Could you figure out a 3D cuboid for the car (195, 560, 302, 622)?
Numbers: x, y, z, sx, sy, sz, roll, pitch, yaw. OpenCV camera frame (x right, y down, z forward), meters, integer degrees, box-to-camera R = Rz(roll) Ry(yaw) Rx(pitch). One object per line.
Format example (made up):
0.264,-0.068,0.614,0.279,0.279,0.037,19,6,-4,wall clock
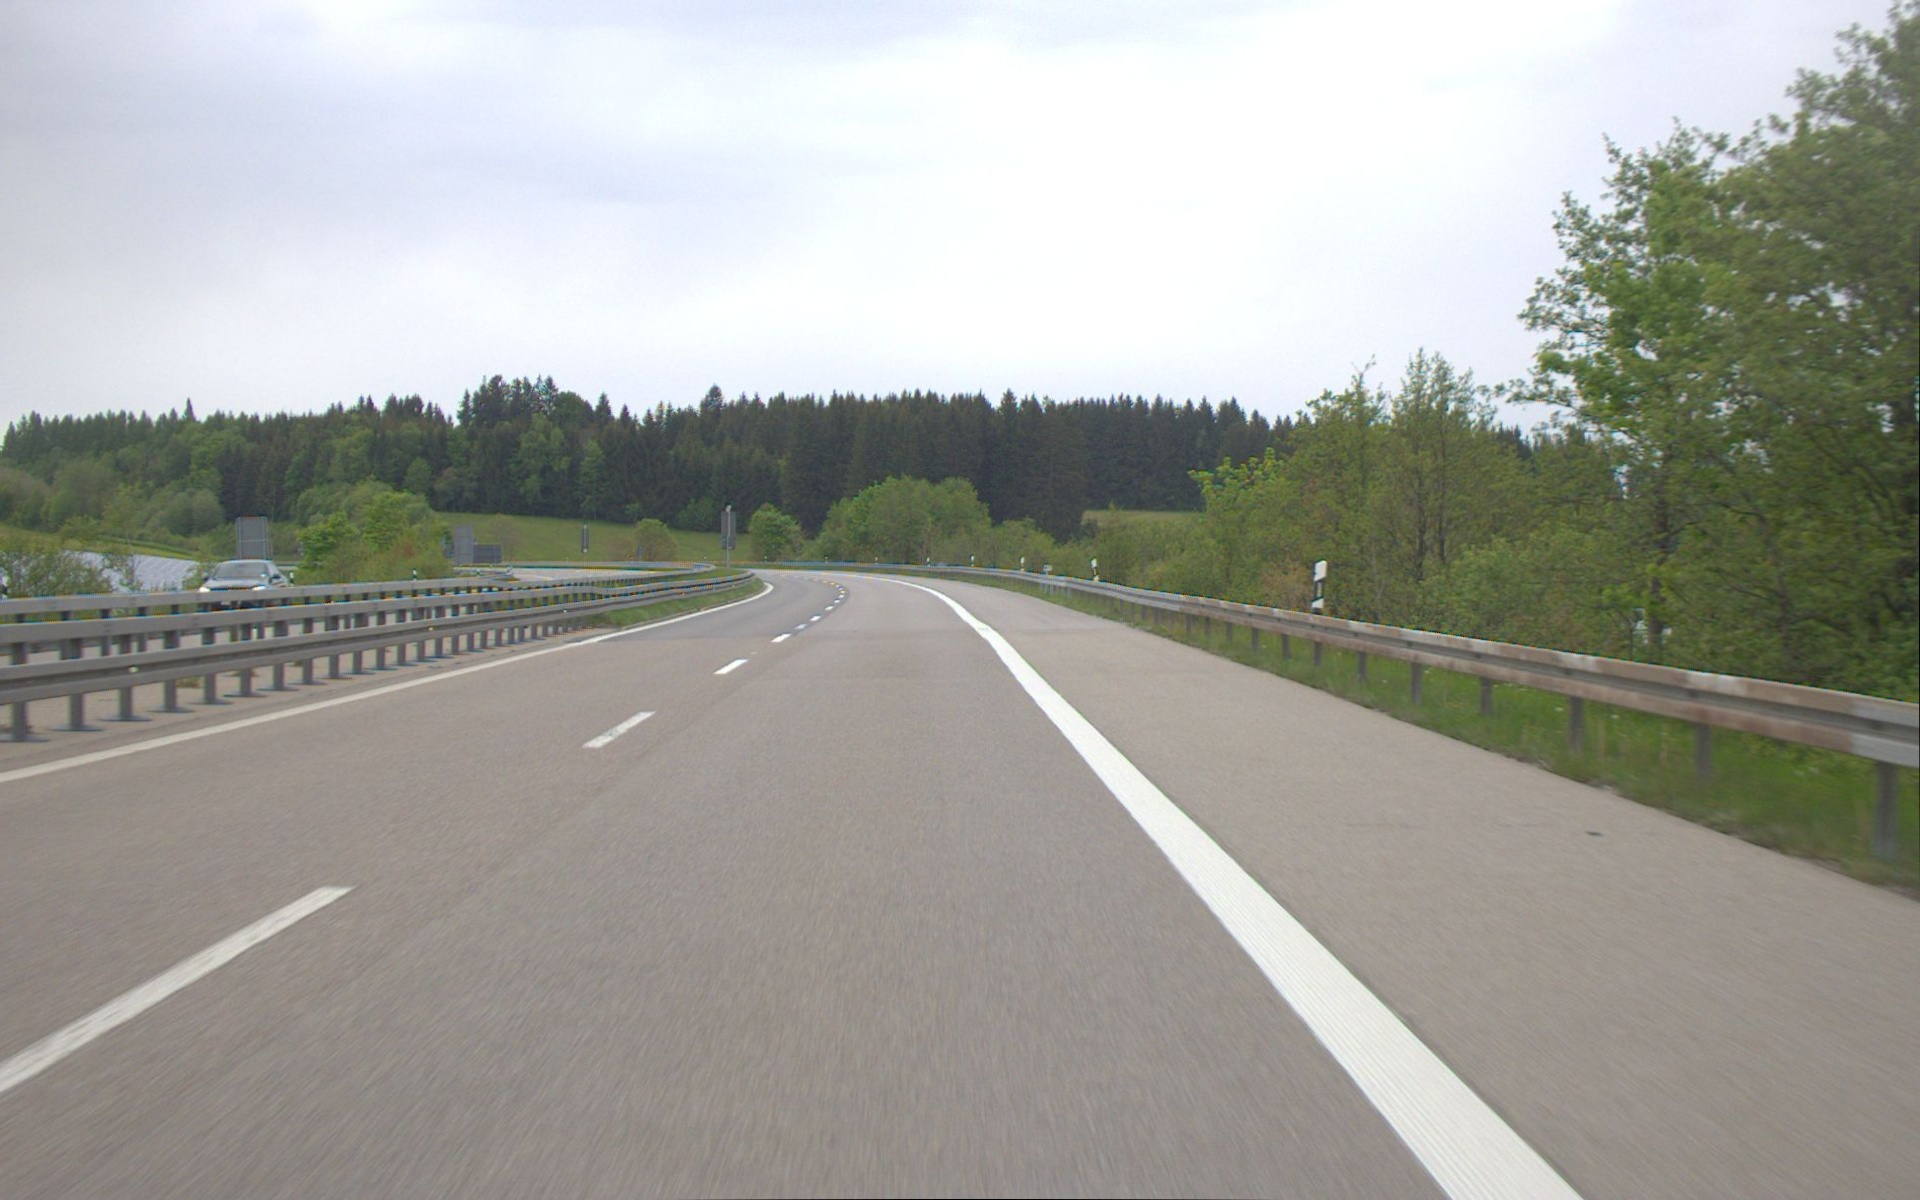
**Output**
-18.945,-0.242,91.705,1.993,1.611,4.848,0,0,-2,car
